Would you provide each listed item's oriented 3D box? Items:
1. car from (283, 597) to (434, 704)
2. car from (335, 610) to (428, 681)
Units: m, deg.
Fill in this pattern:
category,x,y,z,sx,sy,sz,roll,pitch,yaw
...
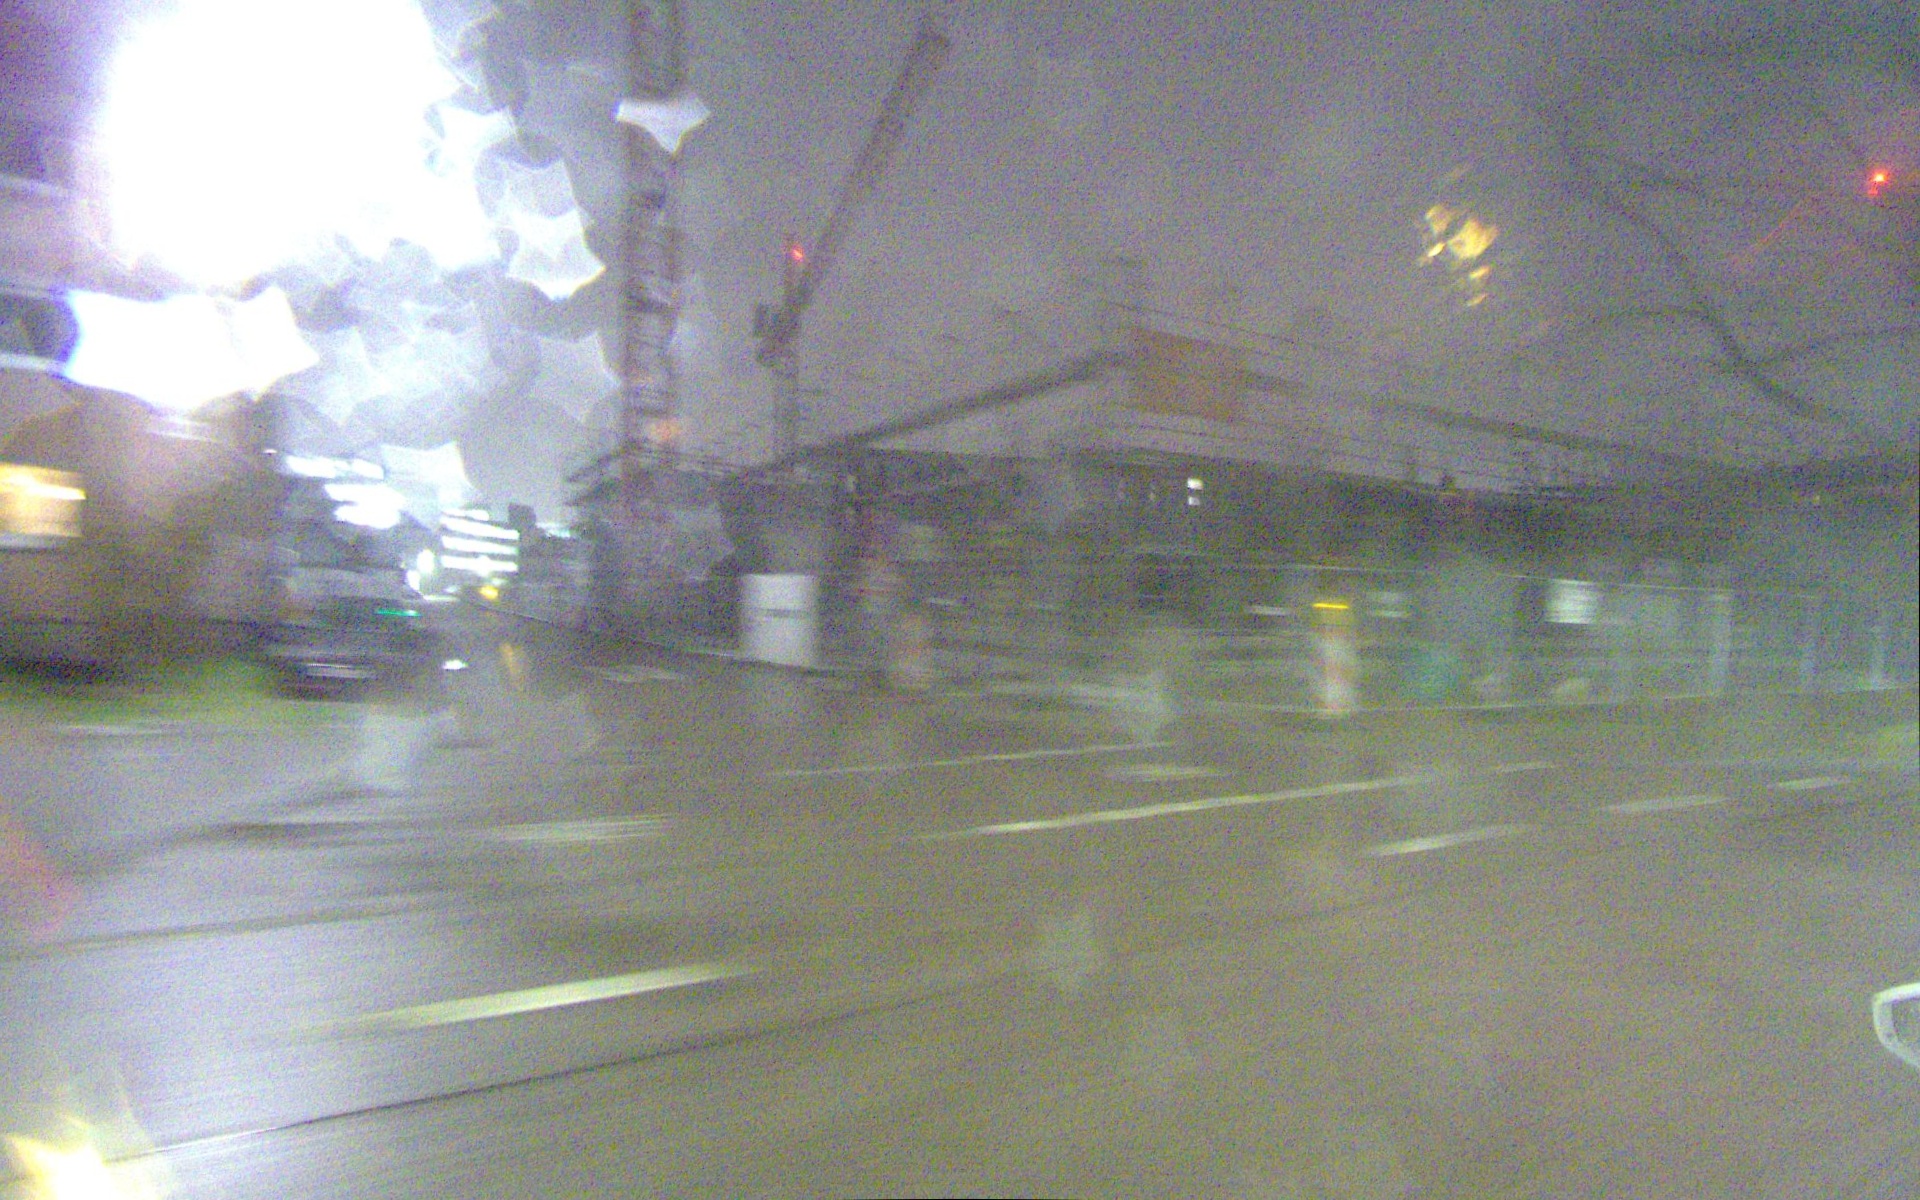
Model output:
category,x,y,z,sx,sy,sz,roll,pitch,yaw
car,-9.304,0.743,15.812,1.474,1.389,4.064,5,-3,-24
car,-12.042,0.907,21.037,1.476,1.275,3.838,4,-2,-29
